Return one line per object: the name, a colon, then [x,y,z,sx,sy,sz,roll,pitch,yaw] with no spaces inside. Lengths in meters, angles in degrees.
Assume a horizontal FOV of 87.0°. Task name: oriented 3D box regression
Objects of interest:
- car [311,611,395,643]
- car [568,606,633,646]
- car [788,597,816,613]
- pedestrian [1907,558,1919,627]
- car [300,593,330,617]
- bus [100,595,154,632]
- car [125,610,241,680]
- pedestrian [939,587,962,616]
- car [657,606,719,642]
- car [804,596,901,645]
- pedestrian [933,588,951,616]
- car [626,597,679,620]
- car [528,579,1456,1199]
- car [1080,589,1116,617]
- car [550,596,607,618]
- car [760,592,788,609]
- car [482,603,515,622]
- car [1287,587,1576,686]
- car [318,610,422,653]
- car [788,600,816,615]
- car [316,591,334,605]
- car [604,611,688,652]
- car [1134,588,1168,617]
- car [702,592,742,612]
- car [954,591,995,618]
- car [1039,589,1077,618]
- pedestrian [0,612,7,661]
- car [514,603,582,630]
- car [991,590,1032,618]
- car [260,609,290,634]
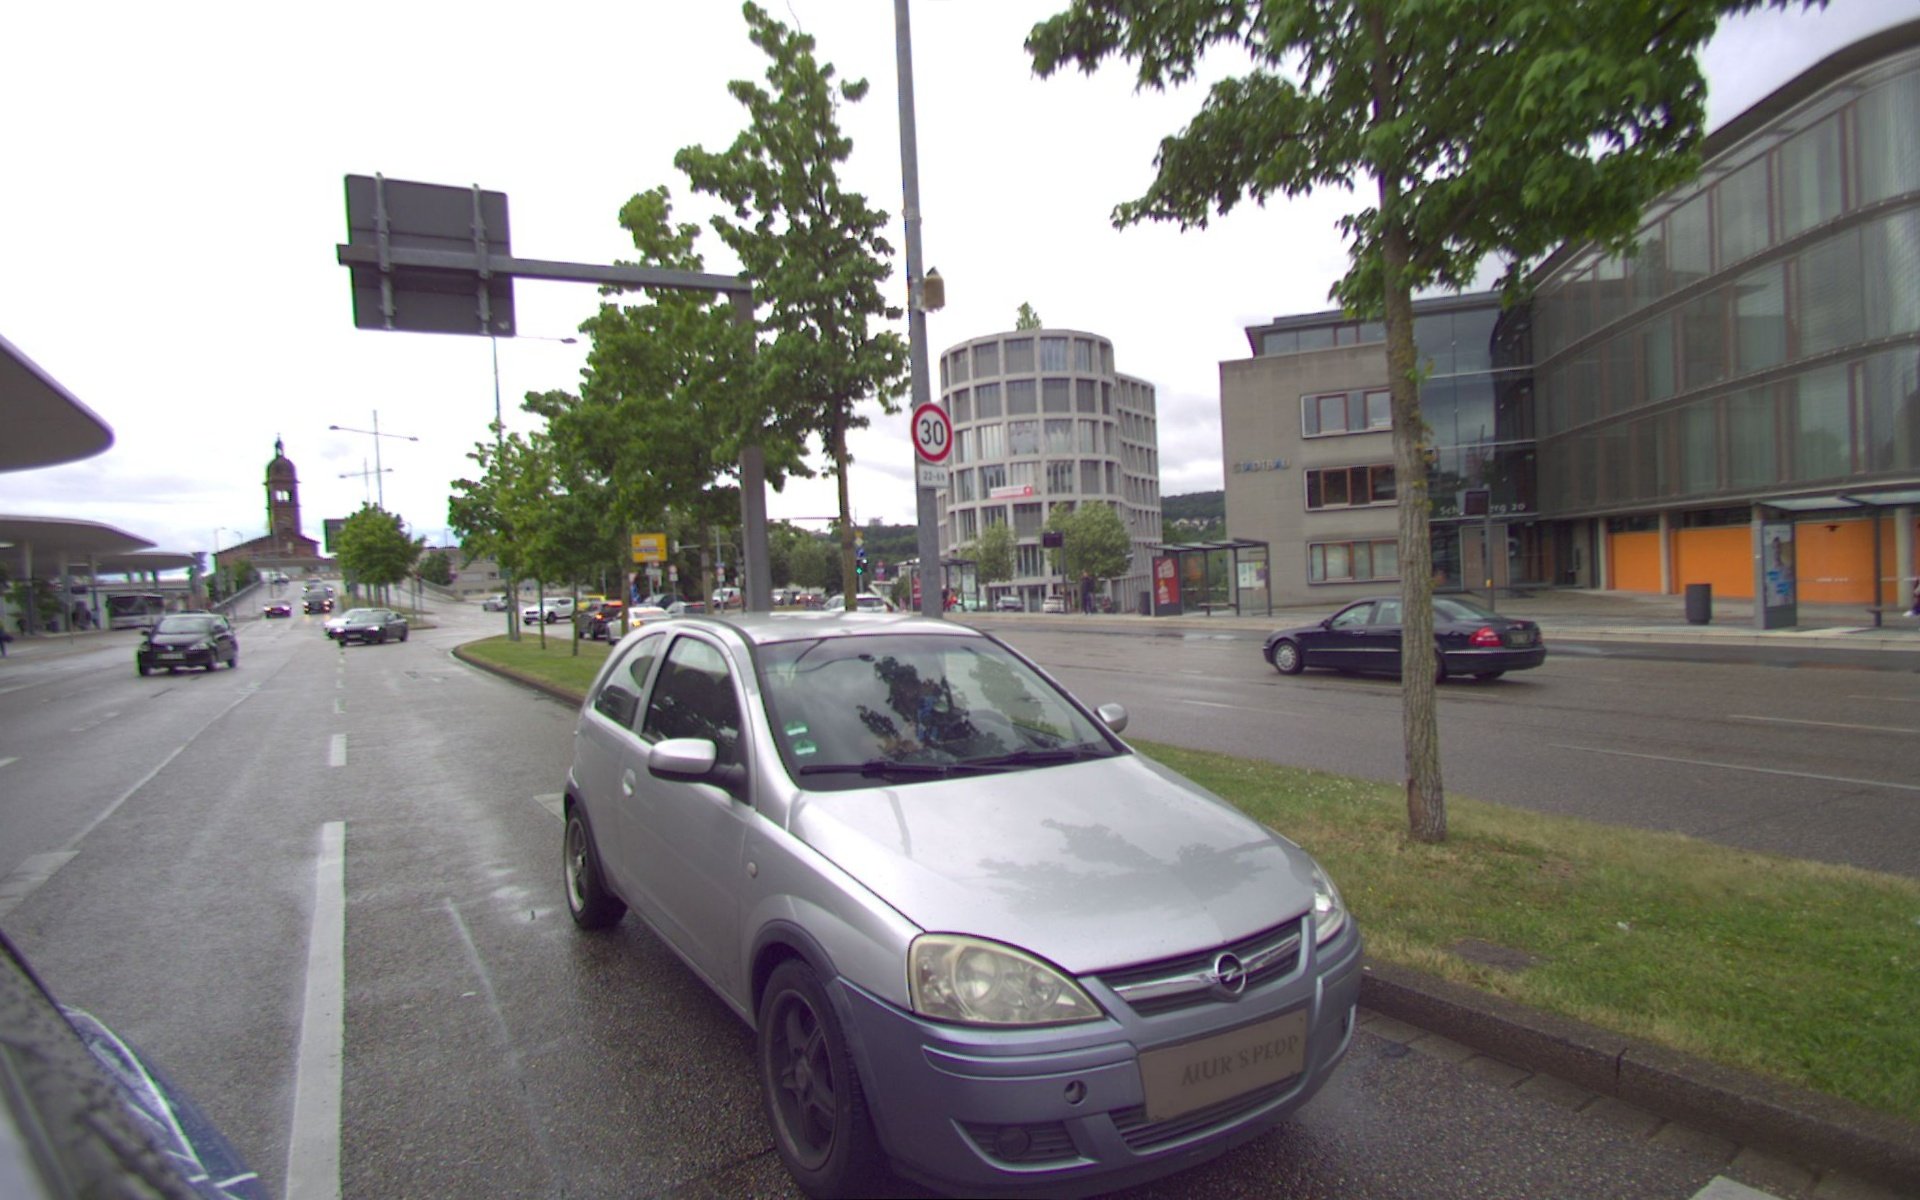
car: [-32.177,1.391,53.792,1.790,1.571,4.042,-1,0,6]
car: [-15.367,1.075,43.145,1.977,1.566,4.178,-1,0,-29]
car: [-17.013,0.495,109.177,1.855,1.646,4.147,-2,0,8]
pedestrian: [18.771,-0.148,19.391,0.657,1.309,0.722,-1,0,-26]
car: [-56.950,0.439,89.324,1.967,2.029,4.009,-1,0,-36]
bus: [-75.947,1.214,92.299,3.528,3.121,10.773,-2,0,-40]
car: [-21.028,1.142,27.565,1.845,1.714,4.170,-1,0,-28]
pedestrian: [-0.499,0.094,53.140,0.967,1.501,0.736,-1,0,-21]
car: [-12.239,1.035,45.296,1.671,1.476,4.466,-1,0,-29]
car: [-3.975,0.704,36.801,1.928,1.630,4.221,-1,0,-30]
pedestrian: [-0.987,0.099,54.044,0.721,1.501,0.737,-1,0,-23]
car: [-22.657,0.594,74.640,1.859,1.646,4.137,-1,0,15]
car: [-0.397,0.706,3.804,1.671,1.476,3.731,-1,0,-32]
car: [8.819,0.182,64.486,1.859,1.714,4.139,-1,0,14]
car: [-31.509,0.553,83.600,4.124,1.646,1.865,-2,0,19]
car: [-18.359,0.031,100.202,1.852,1.646,4.282,-2,0,2]
car: [-42.362,1.159,92.846,1.847,1.646,4.166,-2,0,-38]
car: [7.758,0.543,17.035,1.928,1.433,4.012,-1,0,-30]
car: [-25.631,1.338,44.135,1.854,1.714,4.150,-1,0,6]
car: [-17.271,0.792,110.809,1.855,1.646,4.146,-1,0,8]
car: [-73.679,-0.255,117.392,1.525,1.572,3.658,-1,0,-36]
car: [-11.516,1.095,36.965,1.977,1.363,4.177,-1,0,-31]
car: [11.987,0.137,63.341,1.859,1.714,4.139,-1,0,14]
car: [-20.398,0.161,86.801,1.856,1.646,4.144,-1,0,10]
car: [0.982,0.295,66.246,1.859,1.714,4.139,-1,0,14]
car: [6.313,0.204,64.809,1.859,1.714,4.139,-2,0,14]
pedestrian: [-35.677,1.358,37.523,0.439,1.777,0.538,-2,0,-41]
car: [-26.558,1.053,65.446,1.860,1.646,4.280,-1,0,15]
car: [3.372,0.261,65.540,1.859,1.714,4.139,-1,0,14]
car: [-57.686,1.810,85.278,1.966,2.029,4.011,-1,0,-32]
